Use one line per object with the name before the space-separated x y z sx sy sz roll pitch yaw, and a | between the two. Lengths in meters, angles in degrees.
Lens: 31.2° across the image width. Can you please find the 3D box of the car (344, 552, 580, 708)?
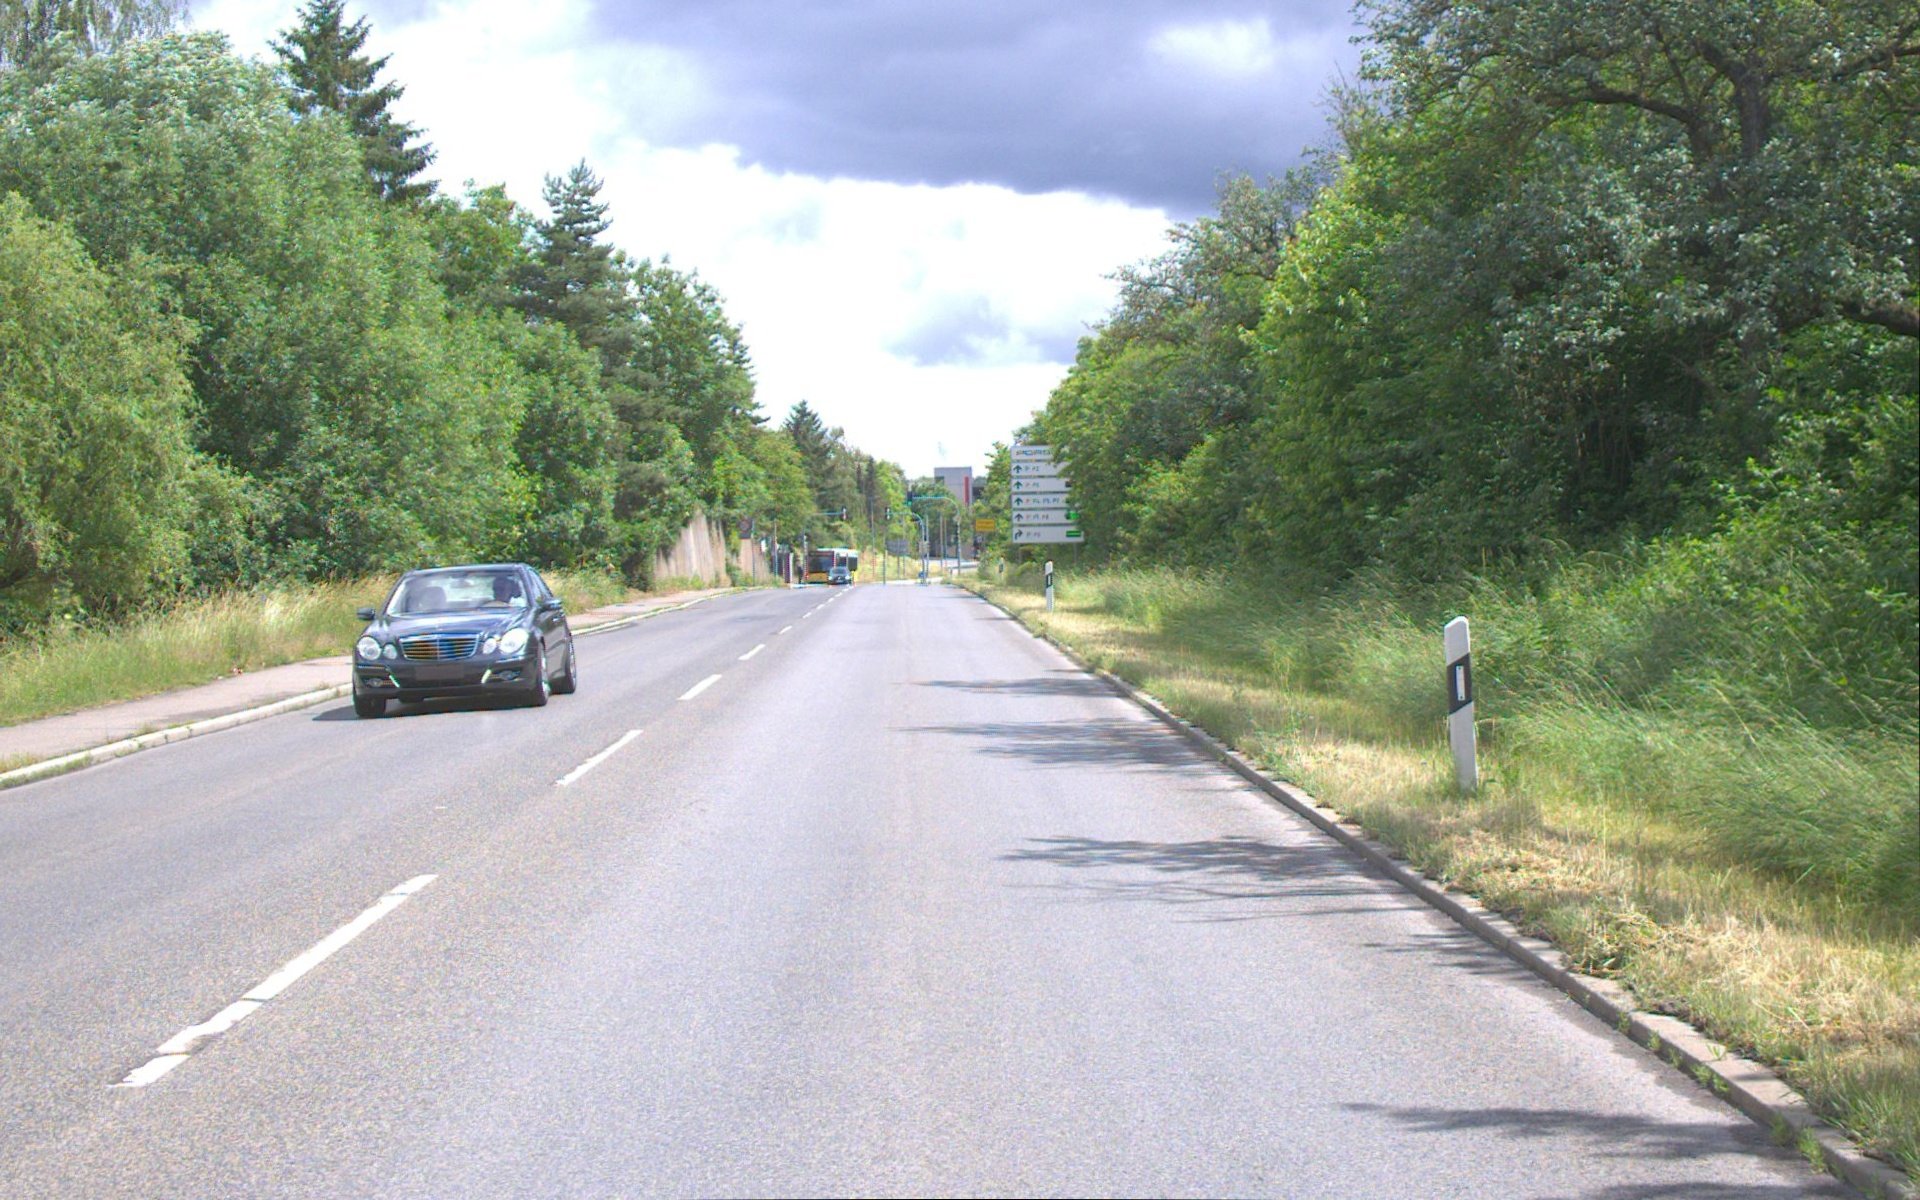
car | -4.915 0.247 34.476 1.784 1.329 4.623 -3 1 -2

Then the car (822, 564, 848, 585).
car | -9.079 -1.851 250.455 1.751 1.459 4.000 -2 1 -1
